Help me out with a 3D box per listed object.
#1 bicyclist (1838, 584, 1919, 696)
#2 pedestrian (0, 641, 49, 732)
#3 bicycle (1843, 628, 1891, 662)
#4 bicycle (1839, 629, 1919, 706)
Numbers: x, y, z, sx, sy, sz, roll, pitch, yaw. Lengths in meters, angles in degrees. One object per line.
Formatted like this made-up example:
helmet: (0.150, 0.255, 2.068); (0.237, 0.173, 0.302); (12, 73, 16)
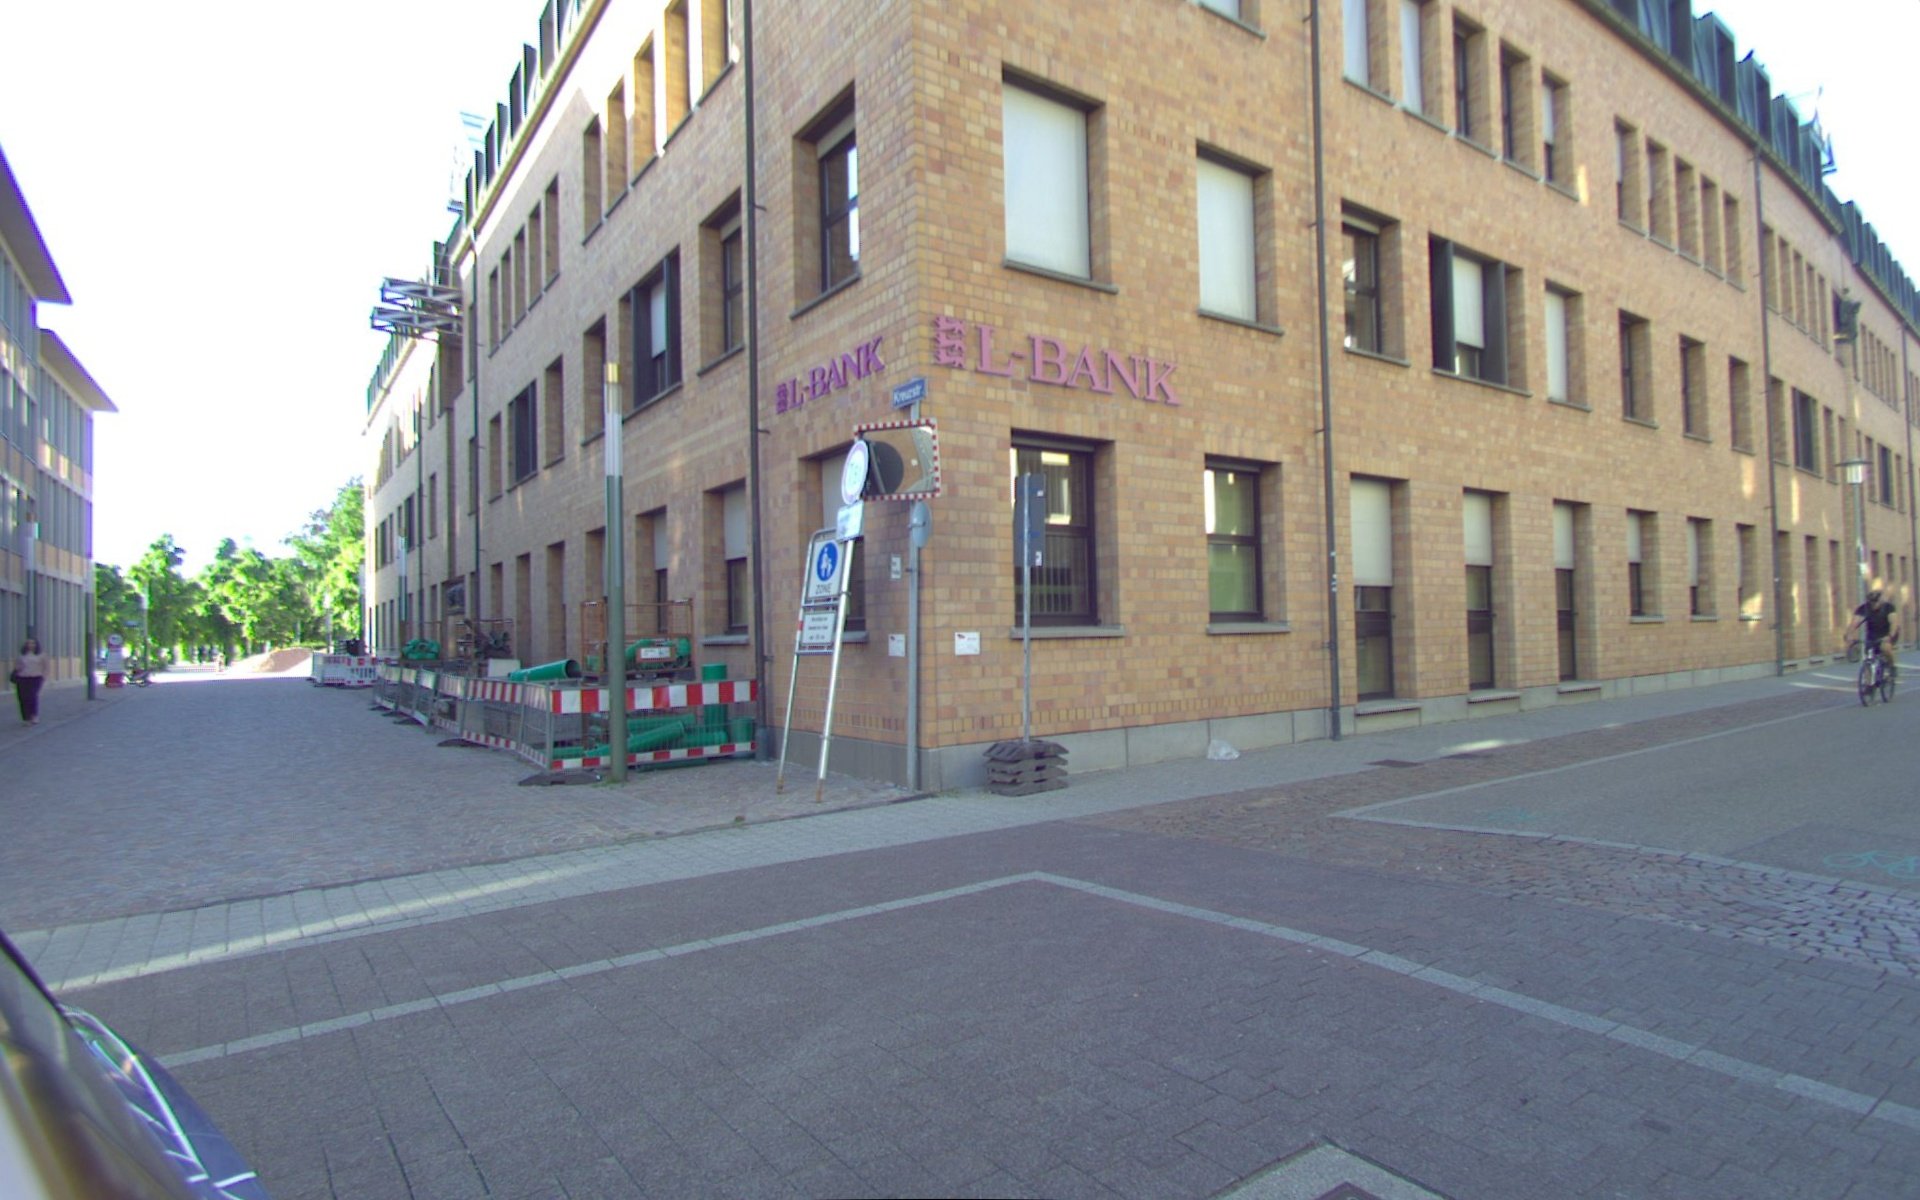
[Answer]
bicyclist: (14.461, 0.631, 15.845); (0.941, 1.668, 0.774); (1, -5, -38)
pedestrian: (-19.003, 1.754, 20.568); (0.628, 1.799, 0.653); (0, -5, -36)
bicycle: (25.564, 1.259, 28.512); (2.516, 0.888, 0.644); (0, -1, -40)
bicycle: (14.476, 1.038, 15.797); (1.798, 1.112, 0.706); (0, -6, -38)
